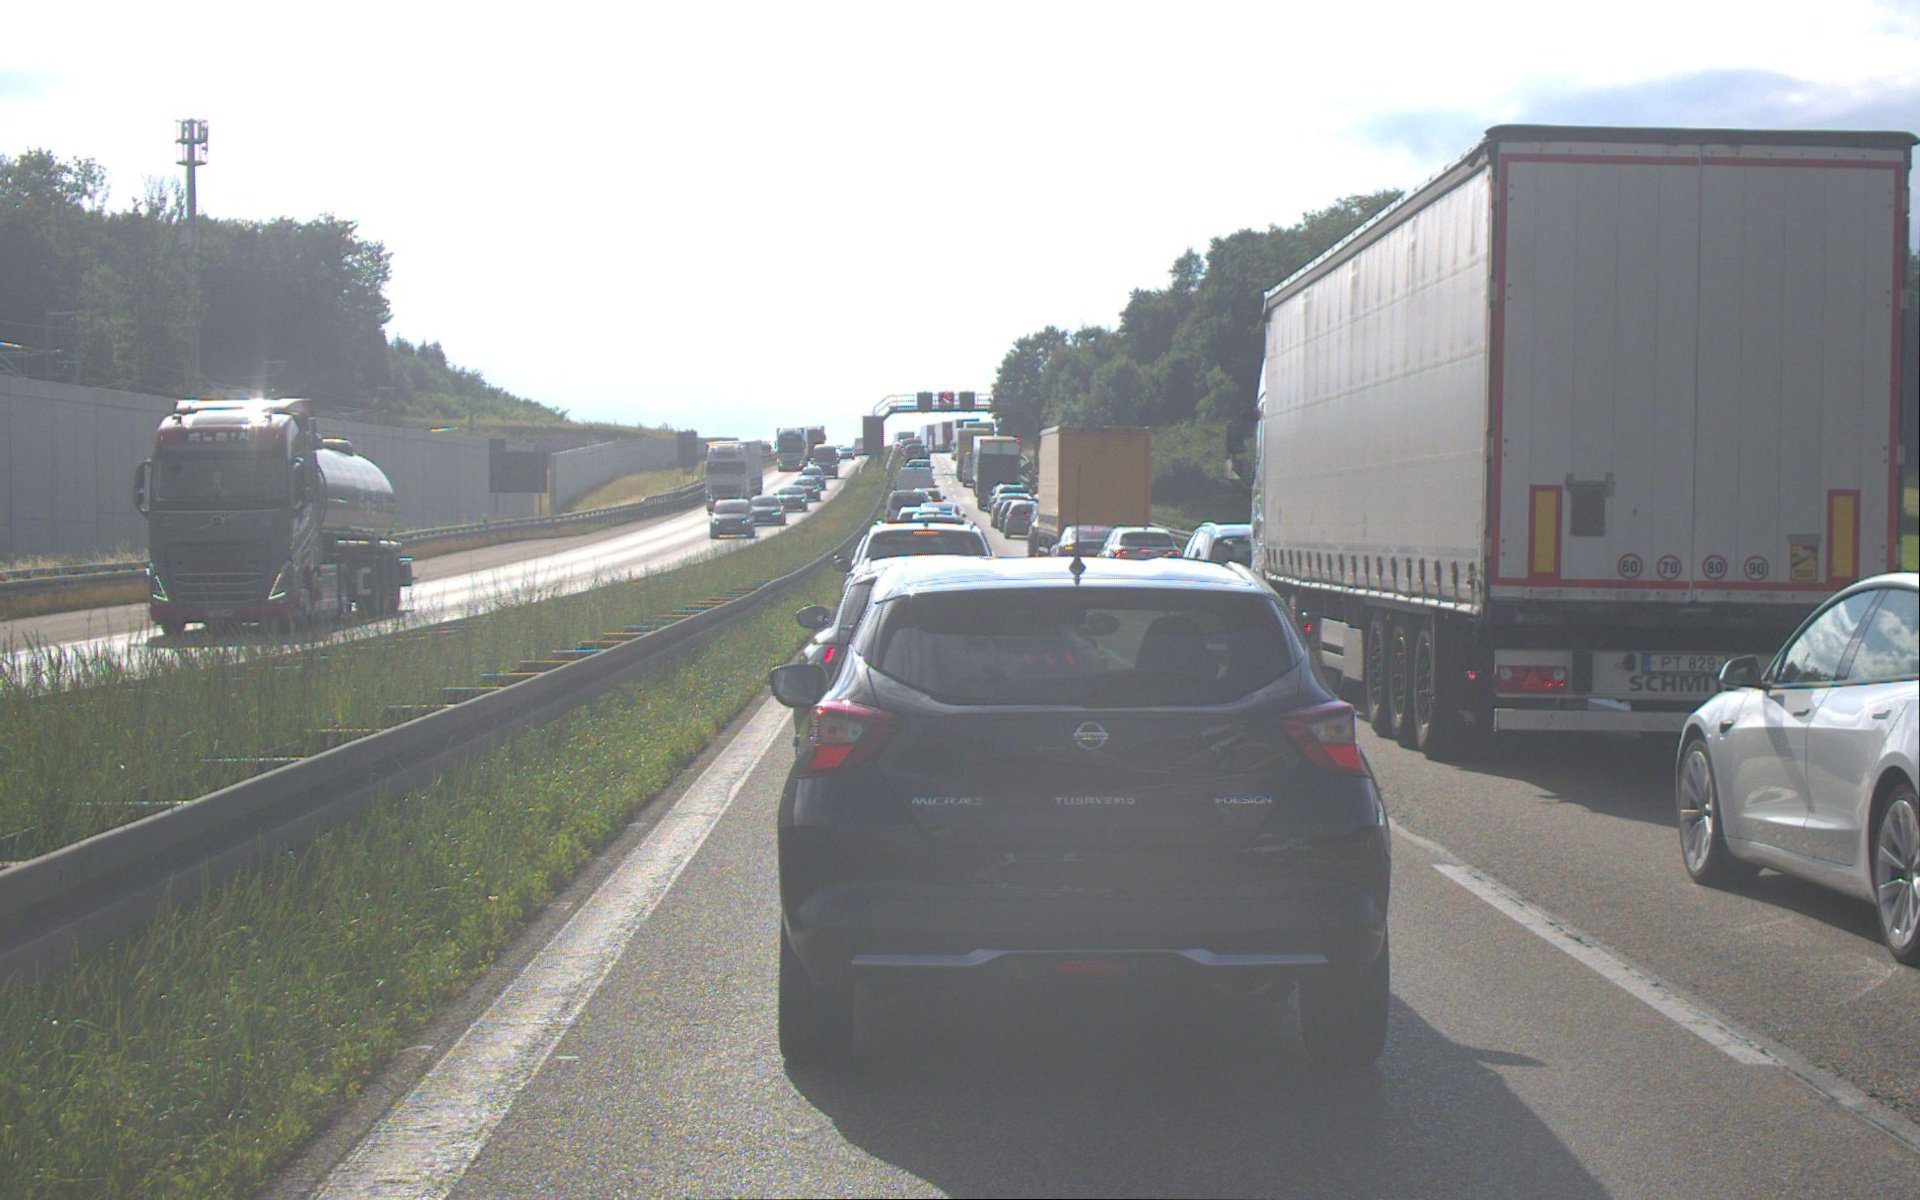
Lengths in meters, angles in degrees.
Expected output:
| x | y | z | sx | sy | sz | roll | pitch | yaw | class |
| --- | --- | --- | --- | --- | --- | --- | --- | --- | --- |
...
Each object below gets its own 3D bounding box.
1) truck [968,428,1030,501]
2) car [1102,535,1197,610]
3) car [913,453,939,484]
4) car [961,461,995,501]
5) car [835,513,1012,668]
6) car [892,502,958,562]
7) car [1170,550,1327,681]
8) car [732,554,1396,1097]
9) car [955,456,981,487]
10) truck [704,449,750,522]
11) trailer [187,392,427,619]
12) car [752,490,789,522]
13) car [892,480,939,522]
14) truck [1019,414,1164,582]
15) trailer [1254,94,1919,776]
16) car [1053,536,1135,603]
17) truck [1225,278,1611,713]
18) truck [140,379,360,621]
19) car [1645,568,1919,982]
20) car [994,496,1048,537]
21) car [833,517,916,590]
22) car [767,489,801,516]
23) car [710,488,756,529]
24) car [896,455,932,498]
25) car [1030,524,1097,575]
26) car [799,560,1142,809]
| x | y | z | sx | sy | sz | roll | pitch | yaw | class |
| --- | --- | --- | --- | --- | --- | --- | --- | --- | --- |
| 2.516 | -8.885 | 225.720 | 3.464 | 4.561 | 12.443 | 1 | 2 | -2 | truck |
| 4.254 | -0.634 | 77.840 | 1.873 | 1.638 | 4.232 | 0 | 1 | 0 | car |
| -2.469 | -9.631 | 251.542 | 1.873 | 2.151 | 5.212 | 0 | 4 | -1 | car |
| 1.055 | -6.956 | 200.088 | 1.873 | 2.151 | 5.212 | 0 | 4 | -1 | car |
| -0.407 | -0.131 | 38.544 | 1.873 | 1.638 | 4.232 | 0 | 1 | 0 | car |
| -1.011 | -2.005 | 100.043 | 1.873 | 1.638 | 4.233 | 0 | 2 | 0 | car |
| 3.690 | 0.160 | 44.600 | 1.697 | 1.605 | 4.437 | 0 | 1 | 1 | car |
| 0.264 | 0.576 | 11.310 | 1.773 | 1.446 | 4.232 | 0 | 1 | 0 | car |
| 0.570 | -9.515 | 255.129 | 1.873 | 2.151 | 5.212 | 0 | 4 | -1 | car |
| -13.938 | -6.820 | 205.611 | 2.380 | 4.167 | 5.932 | -1 | 1 | -1 | truck |
| -12.208 | -1.725 | 65.253 | 2.588 | 3.888 | 10.865 | -1 | 1 | -1 | trailer |
| -9.467 | -4.692 | 172.007 | 1.697 | 1.494 | 4.427 | 0 | 1 | -1 | car |
| -1.836 | -4.073 | 141.108 | 1.873 | 1.638 | 4.233 | 0 | 2 | -2 | car |
| 3.719 | -2.838 | 100.683 | 3.296 | 4.562 | 12.442 | 1 | 0 | -2 | truck |
| 4.481 | -0.969 | 27.002 | 3.130 | 3.997 | 13.366 | 1 | 0 | 0 | trailer |
| 3.384 | -0.803 | 87.273 | 1.873 | 1.638 | 4.232 | 0 | 1 | 0 | car |
| 4.453 | -0.974 | 34.500 | 3.133 | 4.002 | 5.163 | 1 | 0 | 0 | truck |
| -12.113 | -1.672 | 59.111 | 2.582 | 3.909 | 5.722 | -1 | 1 | -1 | truck |
| 4.126 | 0.593 | 13.531 | 1.788 | 1.389 | 4.437 | 0 | 1 | -3 | car |
| 2.513 | -3.498 | 143.030 | 1.873 | 1.638 | 4.233 | 0 | 2 | -4 | car |
| -1.980 | -1.120 | 80.915 | 1.873 | 1.638 | 4.233 | 0 | 2 | 0 | car |
| -10.244 | -5.669 | 200.313 | 1.769 | 1.474 | 3.829 | 0 | 1 | 0 | car |
| -9.813 | -3.947 | 148.857 | 1.781 | 1.731 | 4.102 | 0 | 1 | 0 | car |
| -2.461 | -6.657 | 184.738 | 1.873 | 2.151 | 5.212 | 0 | 4 | -1 | car |
| 3.357 | -1.662 | 111.893 | 1.873 | 1.638 | 4.233 | 0 | 1 | -2 | car |
| 0.042 | 0.436 | 20.957 | 1.873 | 1.353 | 4.232 | 0 | 1 | 0 | car |
